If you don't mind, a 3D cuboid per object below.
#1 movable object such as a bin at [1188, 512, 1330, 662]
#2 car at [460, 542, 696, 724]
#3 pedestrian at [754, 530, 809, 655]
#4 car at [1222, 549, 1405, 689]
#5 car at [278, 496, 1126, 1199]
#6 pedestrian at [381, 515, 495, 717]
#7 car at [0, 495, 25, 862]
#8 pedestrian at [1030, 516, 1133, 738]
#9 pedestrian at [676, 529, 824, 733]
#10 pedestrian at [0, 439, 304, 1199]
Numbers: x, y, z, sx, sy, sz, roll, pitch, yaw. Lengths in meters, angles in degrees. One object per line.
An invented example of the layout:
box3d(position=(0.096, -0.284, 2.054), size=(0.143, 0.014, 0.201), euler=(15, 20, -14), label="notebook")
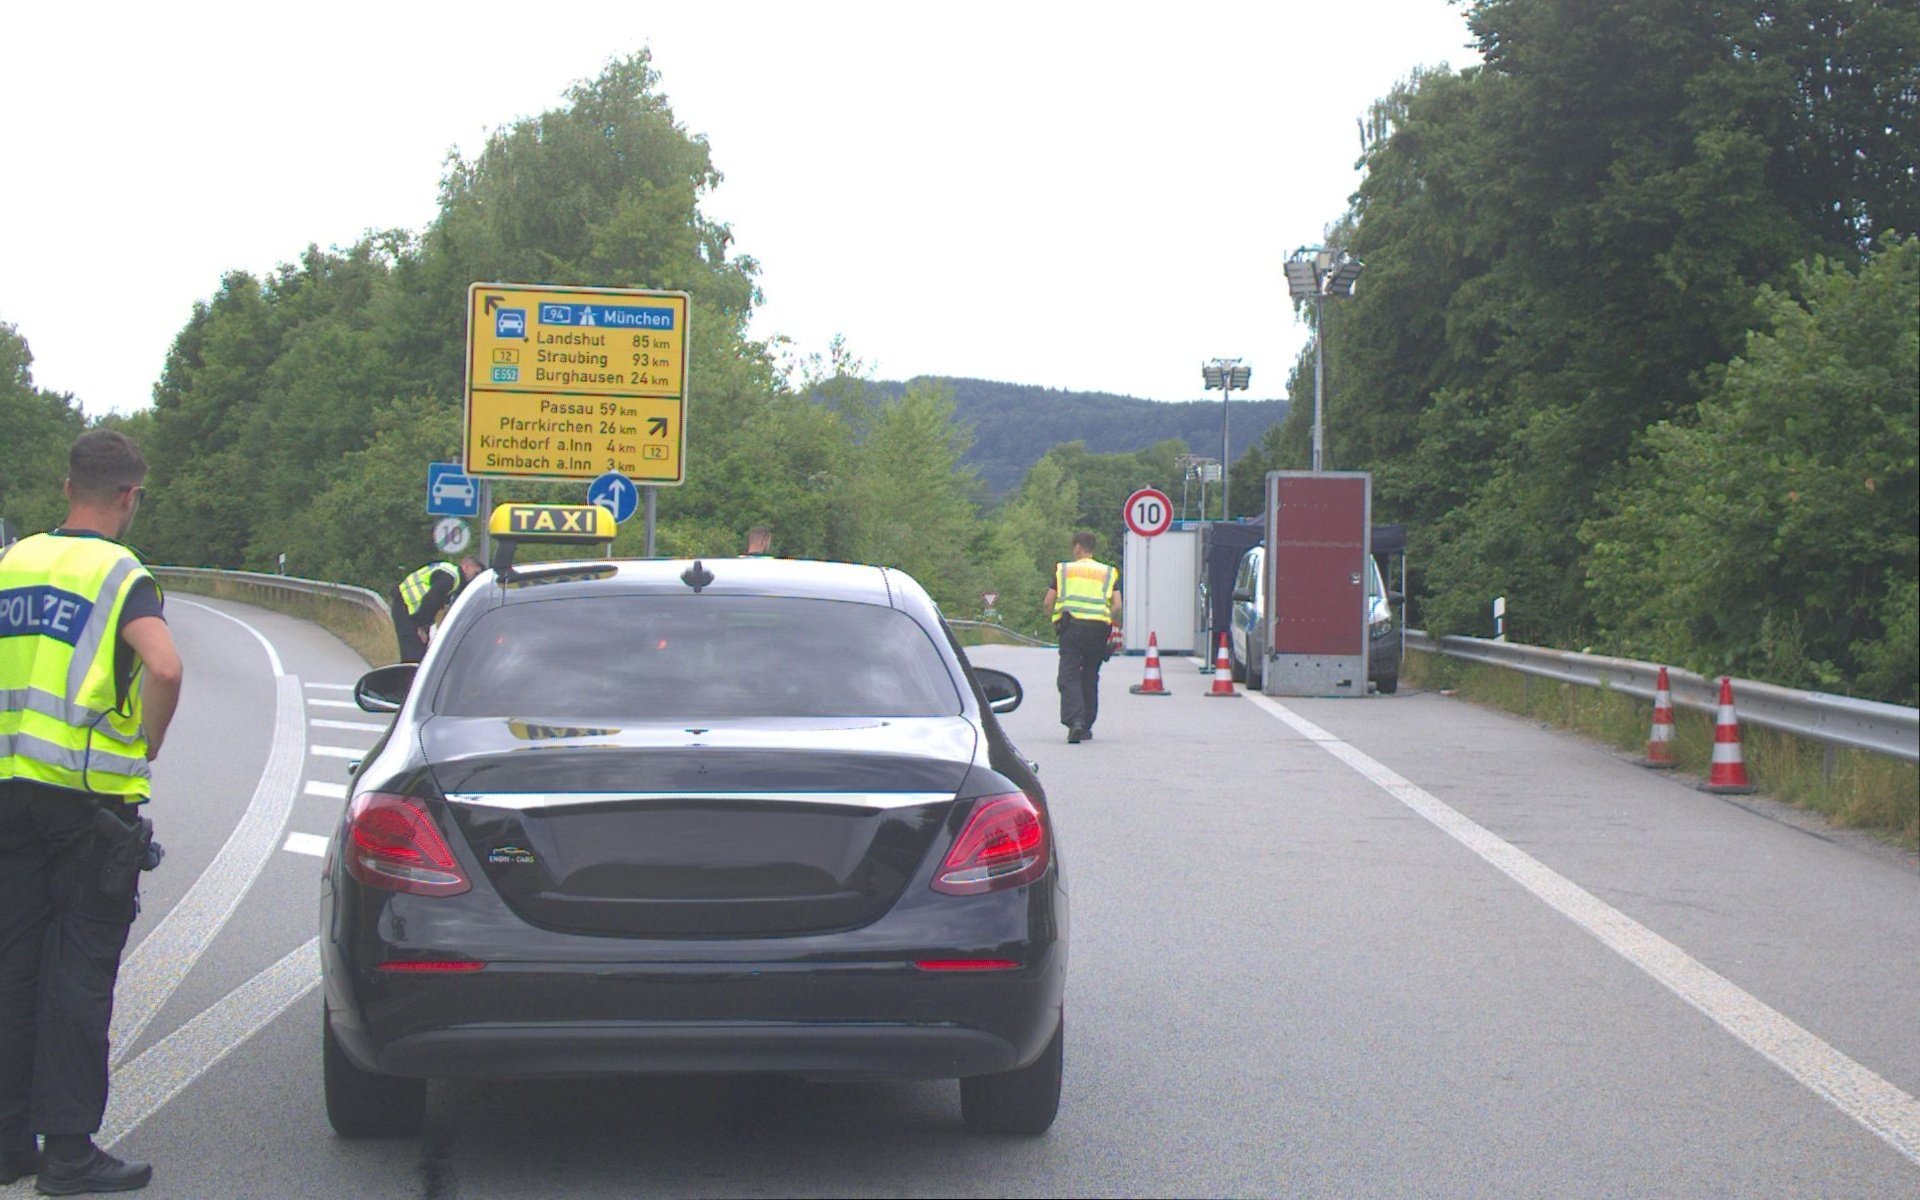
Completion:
box3d(position=(4.686, -0.229, 54.421), size=(1.993, 2.272, 4.168), euler=(1, 1, 2), label="movable object such as a bin")
box3d(position=(-3.325, 0.241, 30.573), size=(1.855, 1.493, 4.257), euler=(0, 1, -3), label="car")
box3d(position=(-2.800, -0.122, 53.930), size=(0.664, 1.954, 0.759), euler=(0, 1, 15), label="pedestrian")
box3d(position=(4.620, 0.199, 45.582), size=(1.916, 1.672, 5.083), euler=(2, 1, 1), label="car")
box3d(position=(-0.758, 0.538, 9.755), size=(1.855, 1.589, 4.376), euler=(0, 1, -5), label="car")
box3d(position=(-4.637, 0.130, 30.603), size=(0.910, 1.763, 0.912), euler=(1, 1, -3), label="pedestrian")
box3d(position=(-5.368, 0.391, 14.803), size=(1.868, 1.737, 4.009), euler=(0, 1, -4), label="car")
box3d(position=(1.007, 0.218, 28.648), size=(0.812, 1.824, 0.809), euler=(0, 1, -1), label="pedestrian")
box3d(position=(-1.789, 0.250, 29.230), size=(0.908, 1.692, 0.914), euler=(0, 1, -32), label="pedestrian")
box3d(position=(-2.064, 0.509, 7.835), size=(0.761, 1.712, 0.816), euler=(0, 1, 37), label="pedestrian")
